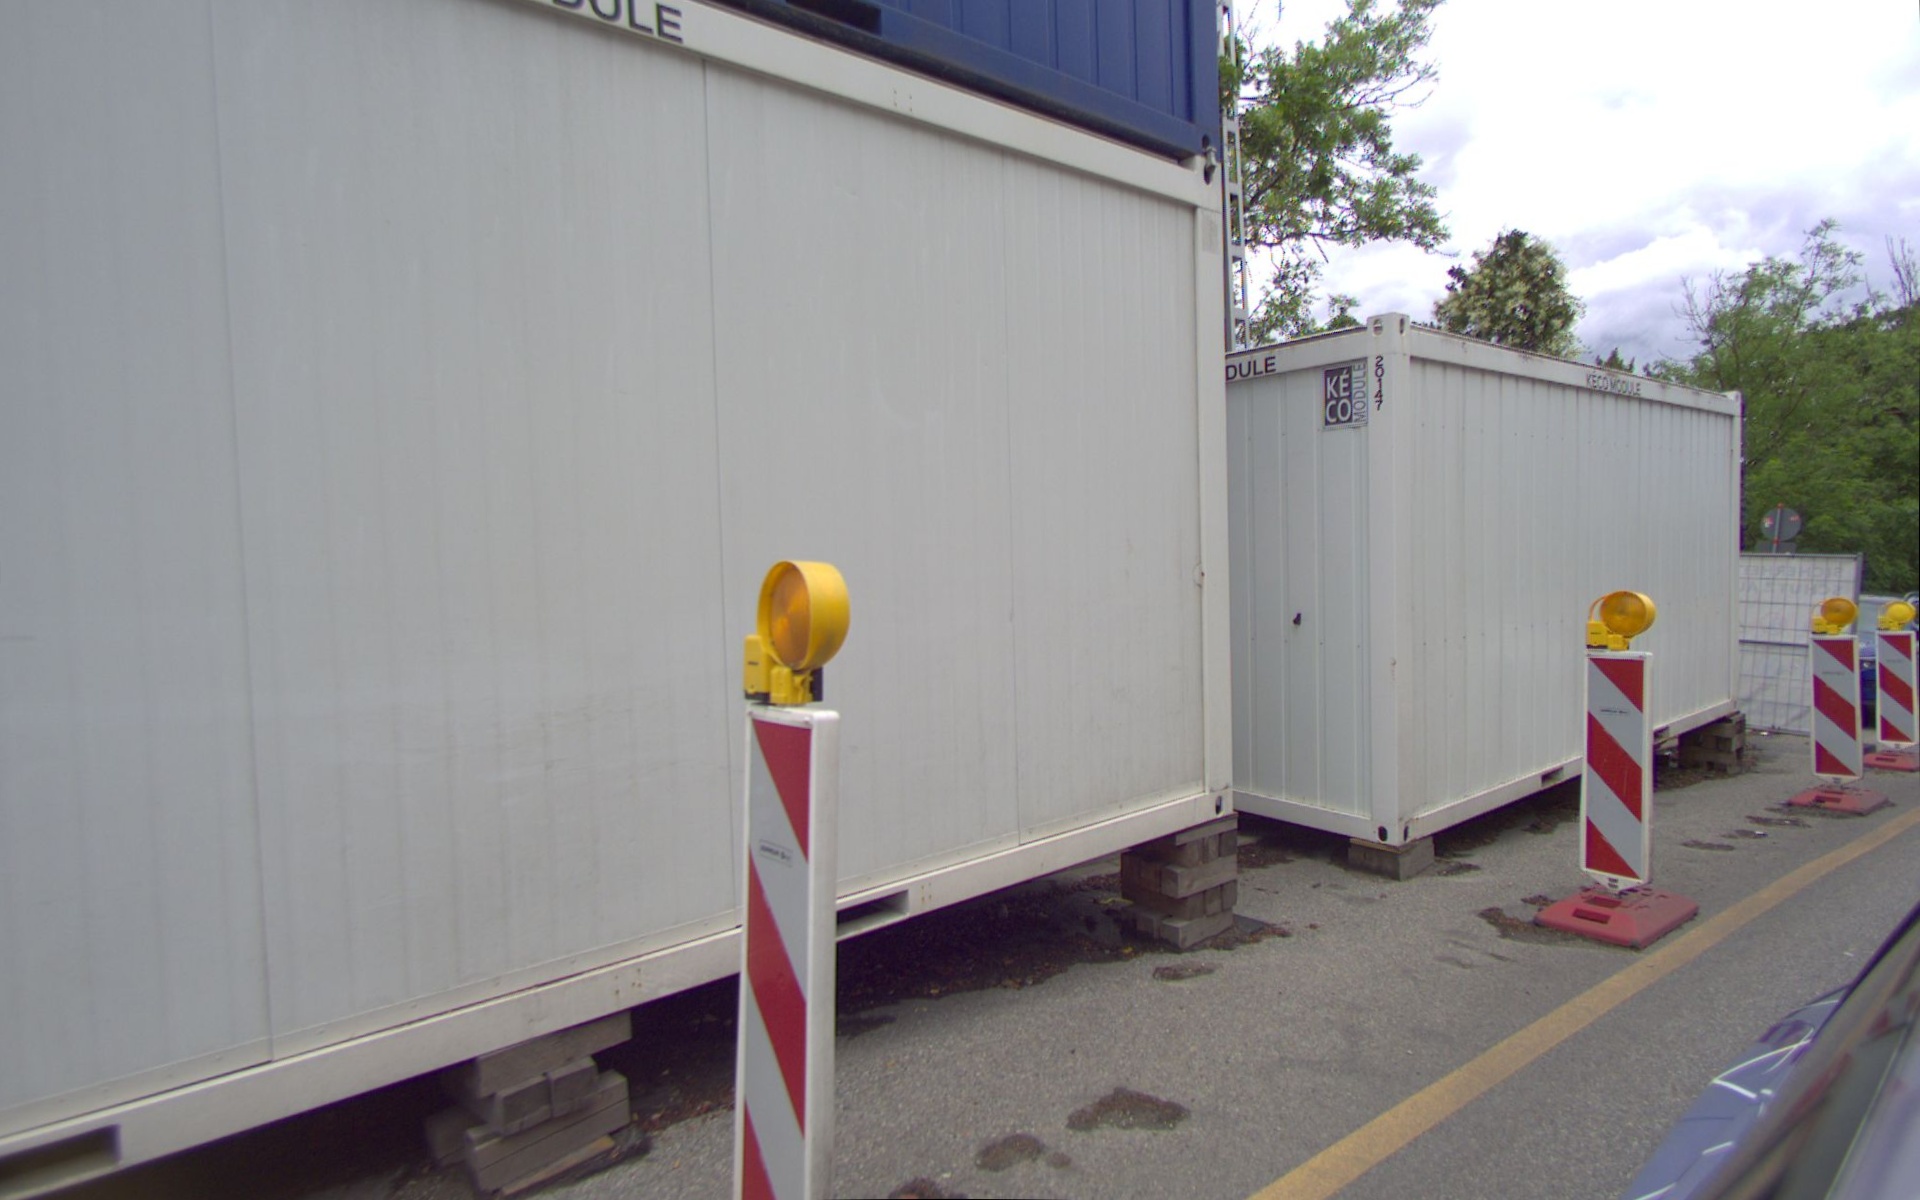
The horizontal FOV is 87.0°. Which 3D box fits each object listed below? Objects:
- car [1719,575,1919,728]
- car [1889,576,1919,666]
[{"bbox_3d":[12.300,0.581,13.735,4.417,1.662,1.847,0,4,-36],"label":"car"},{"bbox_3d":[20.638,0.496,20.259,4.557,1.693,1.871,0,6,-34],"label":"car"}]
